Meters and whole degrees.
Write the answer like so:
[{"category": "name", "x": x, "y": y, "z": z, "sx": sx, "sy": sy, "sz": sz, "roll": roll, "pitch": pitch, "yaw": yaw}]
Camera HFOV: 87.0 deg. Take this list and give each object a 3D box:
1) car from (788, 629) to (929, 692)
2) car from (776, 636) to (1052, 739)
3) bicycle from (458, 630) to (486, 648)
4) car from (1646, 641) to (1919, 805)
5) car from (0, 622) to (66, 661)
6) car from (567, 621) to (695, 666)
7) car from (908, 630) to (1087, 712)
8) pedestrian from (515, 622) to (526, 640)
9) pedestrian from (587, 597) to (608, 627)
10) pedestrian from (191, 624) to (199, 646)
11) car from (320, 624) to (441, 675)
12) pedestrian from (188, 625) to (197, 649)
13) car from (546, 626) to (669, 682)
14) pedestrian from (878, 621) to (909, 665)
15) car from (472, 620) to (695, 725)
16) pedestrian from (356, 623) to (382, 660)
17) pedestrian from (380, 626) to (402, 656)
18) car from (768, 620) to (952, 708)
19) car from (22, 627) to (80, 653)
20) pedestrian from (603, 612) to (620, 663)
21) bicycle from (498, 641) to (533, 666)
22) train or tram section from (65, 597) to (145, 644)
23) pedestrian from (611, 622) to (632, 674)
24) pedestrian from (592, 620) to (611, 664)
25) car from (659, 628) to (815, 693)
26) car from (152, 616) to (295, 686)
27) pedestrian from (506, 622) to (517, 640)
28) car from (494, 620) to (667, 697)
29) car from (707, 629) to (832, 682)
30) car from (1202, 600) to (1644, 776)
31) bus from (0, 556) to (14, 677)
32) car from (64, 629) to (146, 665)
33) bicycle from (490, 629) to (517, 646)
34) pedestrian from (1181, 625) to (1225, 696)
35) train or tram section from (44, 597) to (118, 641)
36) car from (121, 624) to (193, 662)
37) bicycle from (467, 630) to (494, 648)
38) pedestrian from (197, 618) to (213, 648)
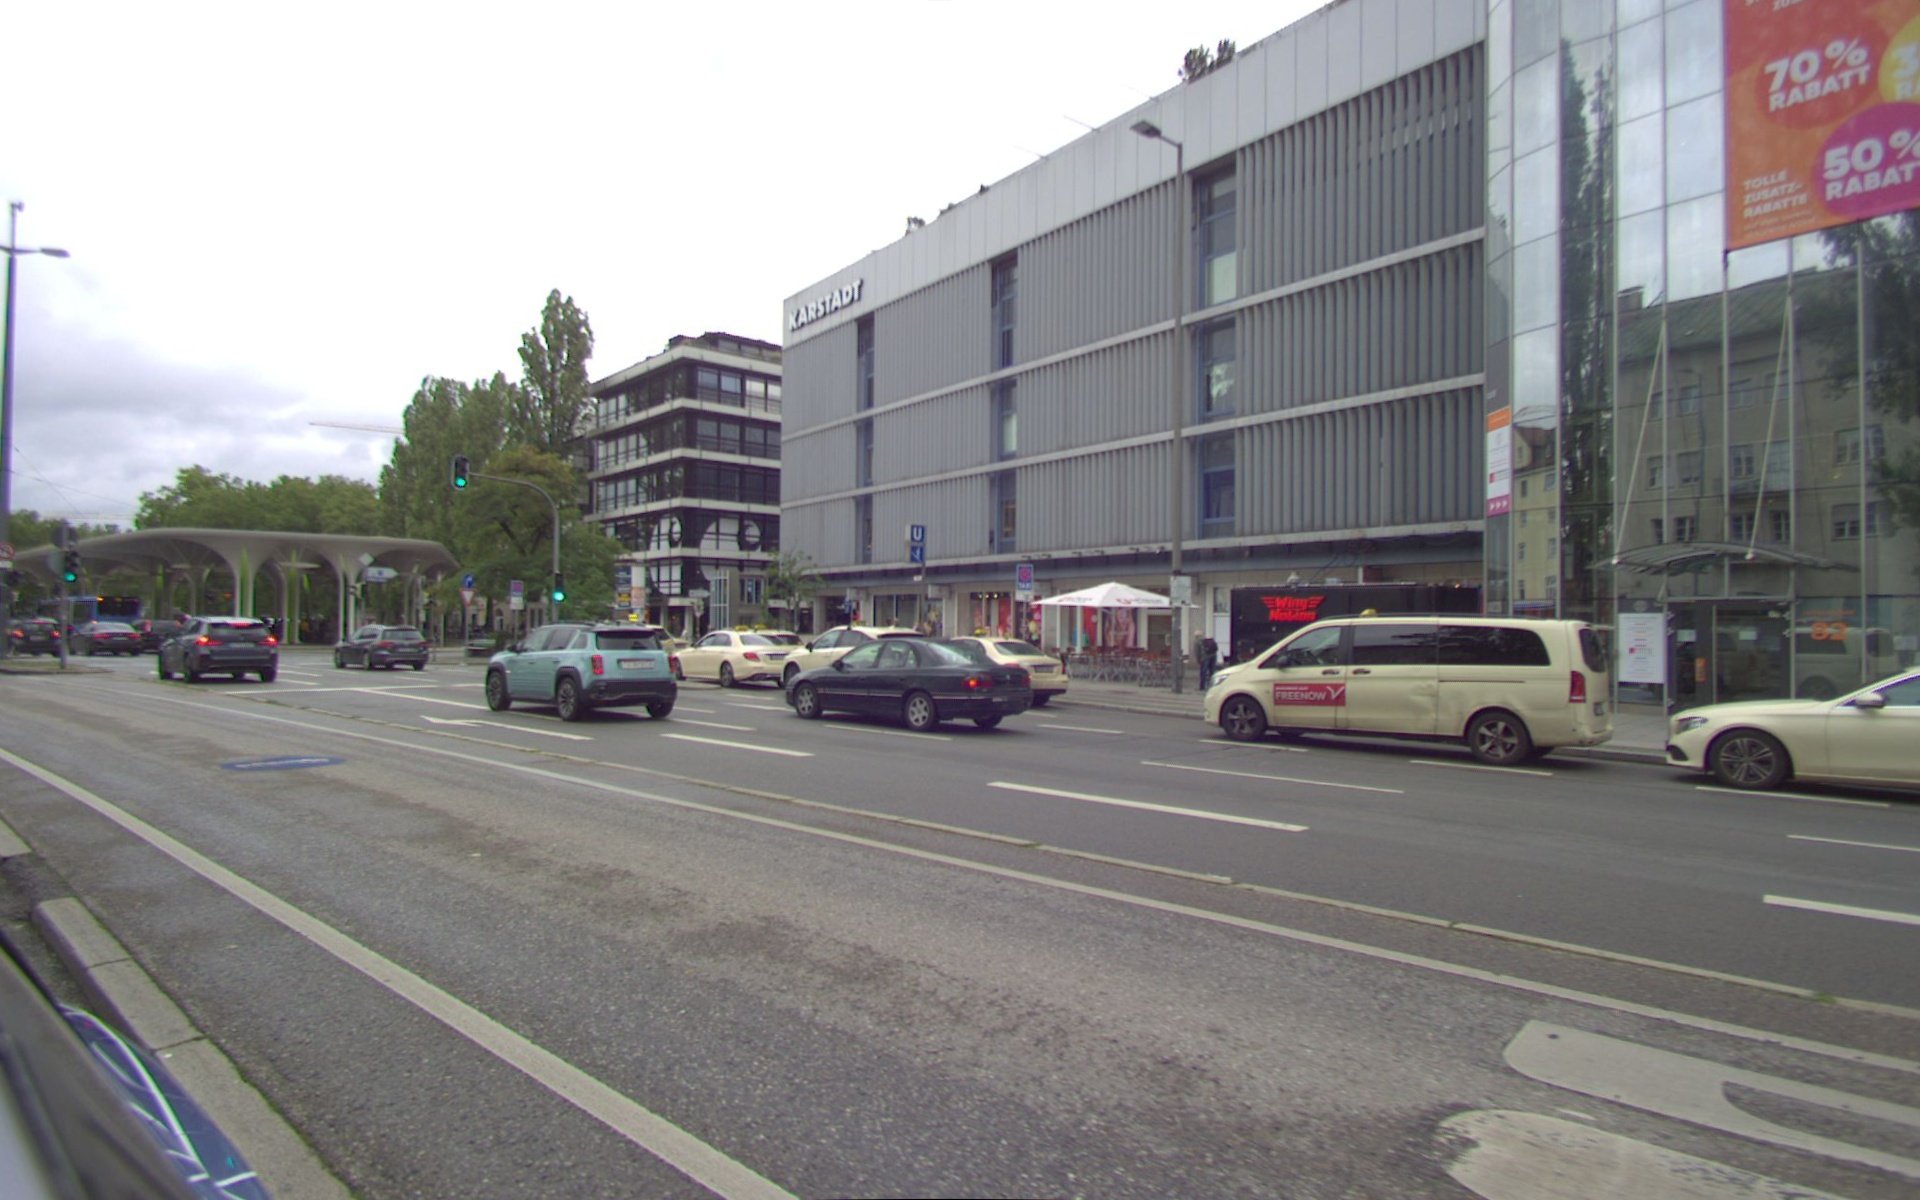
[{"category": "car", "x": -2.796, "y": 1.563, "z": 27.226, "sx": 1.731, "sy": 1.548, "sz": 4.005, "roll": 2, "pitch": -2, "yaw": -42}, {"category": "car", "x": -0.876, "y": 1.309, "z": 16.512, "sx": 4.687, "sy": 1.420, "sz": 1.710, "roll": -1, "pitch": -3, "yaw": 43}, {"category": "bicycle", "x": -30.342, "y": 2.433, "z": 62.877, "sx": 1.660, "sy": 1.106, "sz": 0.470, "roll": 0, "pitch": -2, "yaw": 16}, {"category": "car", "x": 10.251, "y": 1.240, "z": 10.358, "sx": 5.087, "sy": 1.564, "sz": 1.955, "roll": -1, "pitch": -3, "yaw": 44}, {"category": "car", "x": -38.332, "y": 1.680, "z": 41.496, "sx": 2.774, "sy": 1.518, "sz": 1.548, "roll": 0, "pitch": -2, "yaw": 27}, {"category": "car", "x": -11.728, "y": 1.530, "z": 36.050, "sx": 4.274, "sy": 1.522, "sz": 1.843, "roll": -1, "pitch": -2, "yaw": 26}, {"category": "car", "x": 0.760, "y": 1.521, "z": 22.683, "sx": 1.749, "sy": 1.628, "sz": 4.006, "roll": 2, "pitch": -2, "yaw": -41}, {"category": "pedestrian", "x": -43.008, "y": 3.006, "z": 99.019, "sx": 0.788, "sy": 1.737, "sz": 0.827, "roll": 2, "pitch": -2, "yaw": -39}, {"category": "pedestrian", "x": -16.426, "y": 0.539, "z": 45.855, "sx": 0.773, "sy": 1.318, "sz": 0.537, "roll": -1, "pitch": -3, "yaw": 40}, {"category": "pedestrian", "x": -49.155, "y": 2.230, "z": 65.052, "sx": 0.270, "sy": 1.387, "sz": 0.299, "roll": -1, "pitch": -3, "yaw": 37}, {"category": "car", "x": -19.457, "y": 1.616, "z": 33.909, "sx": 4.944, "sy": 1.558, "sz": 1.939, "roll": -1, "pitch": -3, "yaw": 41}, {"category": "pedestrian", "x": -49.426, "y": 2.392, "z": 65.206, "sx": 0.316, "sy": 1.514, "sz": 0.331, "roll": -1, "pitch": -2, "yaw": 30}, {"category": "car", "x": -11.154, "y": 1.655, "z": 31.882, "sx": 4.472, "sy": 1.624, "sz": 1.571, "roll": -1, "pitch": -3, "yaw": 39}, {"category": "pedestrian", "x": -2.374, "y": 1.542, "z": 36.294, "sx": 0.722, "sy": 1.557, "sz": 0.901, "roll": 2, "pitch": -2, "yaw": -37}, {"category": "car", "x": -6.389, "y": 1.155, "z": 16.997, "sx": 3.998, "sy": 1.557, "sz": 1.798, "roll": -1, "pitch": -4, "yaw": 41}, {"category": "pedestrian", "x": -25.260, "y": 1.758, "z": 43.267, "sx": 0.753, "sy": 1.563, "sz": 0.637, "roll": 0, "pitch": 0, "yaw": 14}, {"category": "pedestrian", "x": -34.795, "y": 2.482, "z": 61.882, "sx": 0.980, "sy": 1.791, "sz": 0.850, "roll": -1, "pitch": -3, "yaw": 40}, {"category": "car", "x": -2.288, "y": 1.345, "z": 22.195, "sx": 1.861, "sy": 1.711, "sz": 4.390, "roll": 4, "pitch": -3, "yaw": -39}, {"category": "car", "x": -57.147, "y": 2.481, "z": 63.591, "sx": 4.611, "sy": 1.589, "sz": 1.974, "roll": -1, "pitch": -2, "yaw": 39}, {"category": "pedestrian", "x": -11.576, "y": 1.236, "z": 33.575, "sx": 0.425, "sy": 1.668, "sz": 0.360, "roll": 0, "pitch": 0, "yaw": 39}, {"category": "bicycle", "x": -18.737, "y": 2.250, "z": 42.684, "sx": 0.419, "sy": 1.024, "sz": 1.282, "roll": -1, "pitch": -3, "yaw": 37}, {"category": "train or tram section", "x": -57.514, "y": 1.384, "z": 68.015, "sx": 7.400, "sy": 3.024, "sz": 2.805, "roll": -1, "pitch": -2, "yaw": 40}, {"category": "pedestrian", "x": -11.382, "y": 1.605, "z": 34.068, "sx": 0.428, "sy": 1.742, "sz": 0.518, "roll": 0, "pitch": 0, "yaw": 39}, {"category": "pedestrian", "x": -14.767, "y": 1.719, "z": 41.711, "sx": 0.510, "sy": 1.792, "sz": 0.555, "roll": 0, "pitch": 0, "yaw": 42}, {"category": "car", "x": -5.955, "y": 1.519, "z": 26.606, "sx": 1.922, "sy": 1.552, "sz": 4.854, "roll": 2, "pitch": -2, "yaw": -41}, {"category": "car", "x": -18.778, "y": 1.262, "z": 25.745, "sx": 4.411, "sy": 1.633, "sz": 1.973, "roll": -1, "pitch": -3, "yaw": 41}, {"category": "pedestrian", "x": -43.574, "y": 3.008, "z": 98.272, "sx": 0.788, "sy": 1.737, "sz": 0.827, "roll": 2, "pitch": -2, "yaw": -39}, {"category": "car", "x": -8.857, "y": 1.292, "z": 23.470, "sx": 4.288, "sy": 1.612, "sz": 1.972, "roll": -1, "pitch": -3, "yaw": 42}, {"category": "car", "x": -6.150, "y": 1.730, "z": 32.514, "sx": 3.998, "sy": 1.579, "sz": 1.886, "roll": -1, "pitch": -2, "yaw": 42}, {"category": "car", "x": 6.288, "y": 1.083, "z": 14.246, "sx": 5.321, "sy": 2.029, "sz": 1.972, "roll": -1, "pitch": -3, "yaw": 43}, {"category": "bus", "x": -28.694, "y": 0.414, "z": 27.505, "sx": 11.202, "sy": 2.966, "sz": 2.905, "roll": 0, "pitch": -1, "yaw": 39}, {"category": "car", "x": -38.717, "y": 2.098, "z": 45.787, "sx": 5.017, "sy": 1.519, "sz": 1.973, "roll": -1, "pitch": -3, "yaw": 40}, {"category": "bicycle", "x": -29.778, "y": 2.435, "z": 65.997, "sx": 1.660, "sy": 1.106, "sz": 0.470, "roll": 0, "pitch": -2, "yaw": 16}, {"category": "pedestrian", "x": 6.317, "y": 1.554, "z": 26.289, "sx": 0.779, "sy": 1.819, "sz": 0.819, "roll": 2, "pitch": -3, "yaw": -38}, {"category": "train or tram section", "x": -63.229, "y": 1.412, "z": 72.744, "sx": 7.400, "sy": 3.024, "sz": 2.805, "roll": -1, "pitch": -2, "yaw": 40}, {"category": "car", "x": -39.771, "y": 2.101, "z": 50.112, "sx": 4.597, "sy": 1.791, "sz": 1.972, "roll": -1, "pitch": -3, "yaw": 41}, {"category": "bicycle", "x": -30.160, "y": 2.433, "z": 63.661, "sx": 1.660, "sy": 1.106, "sz": 0.470, "roll": 0, "pitch": -2, "yaw": 16}, {"category": "pedestrian", "x": -46.642, "y": 2.023, "z": 62.496, "sx": 0.656, "sy": 1.865, "sz": 0.790, "roll": 2, "pitch": -2, "yaw": -31}]
